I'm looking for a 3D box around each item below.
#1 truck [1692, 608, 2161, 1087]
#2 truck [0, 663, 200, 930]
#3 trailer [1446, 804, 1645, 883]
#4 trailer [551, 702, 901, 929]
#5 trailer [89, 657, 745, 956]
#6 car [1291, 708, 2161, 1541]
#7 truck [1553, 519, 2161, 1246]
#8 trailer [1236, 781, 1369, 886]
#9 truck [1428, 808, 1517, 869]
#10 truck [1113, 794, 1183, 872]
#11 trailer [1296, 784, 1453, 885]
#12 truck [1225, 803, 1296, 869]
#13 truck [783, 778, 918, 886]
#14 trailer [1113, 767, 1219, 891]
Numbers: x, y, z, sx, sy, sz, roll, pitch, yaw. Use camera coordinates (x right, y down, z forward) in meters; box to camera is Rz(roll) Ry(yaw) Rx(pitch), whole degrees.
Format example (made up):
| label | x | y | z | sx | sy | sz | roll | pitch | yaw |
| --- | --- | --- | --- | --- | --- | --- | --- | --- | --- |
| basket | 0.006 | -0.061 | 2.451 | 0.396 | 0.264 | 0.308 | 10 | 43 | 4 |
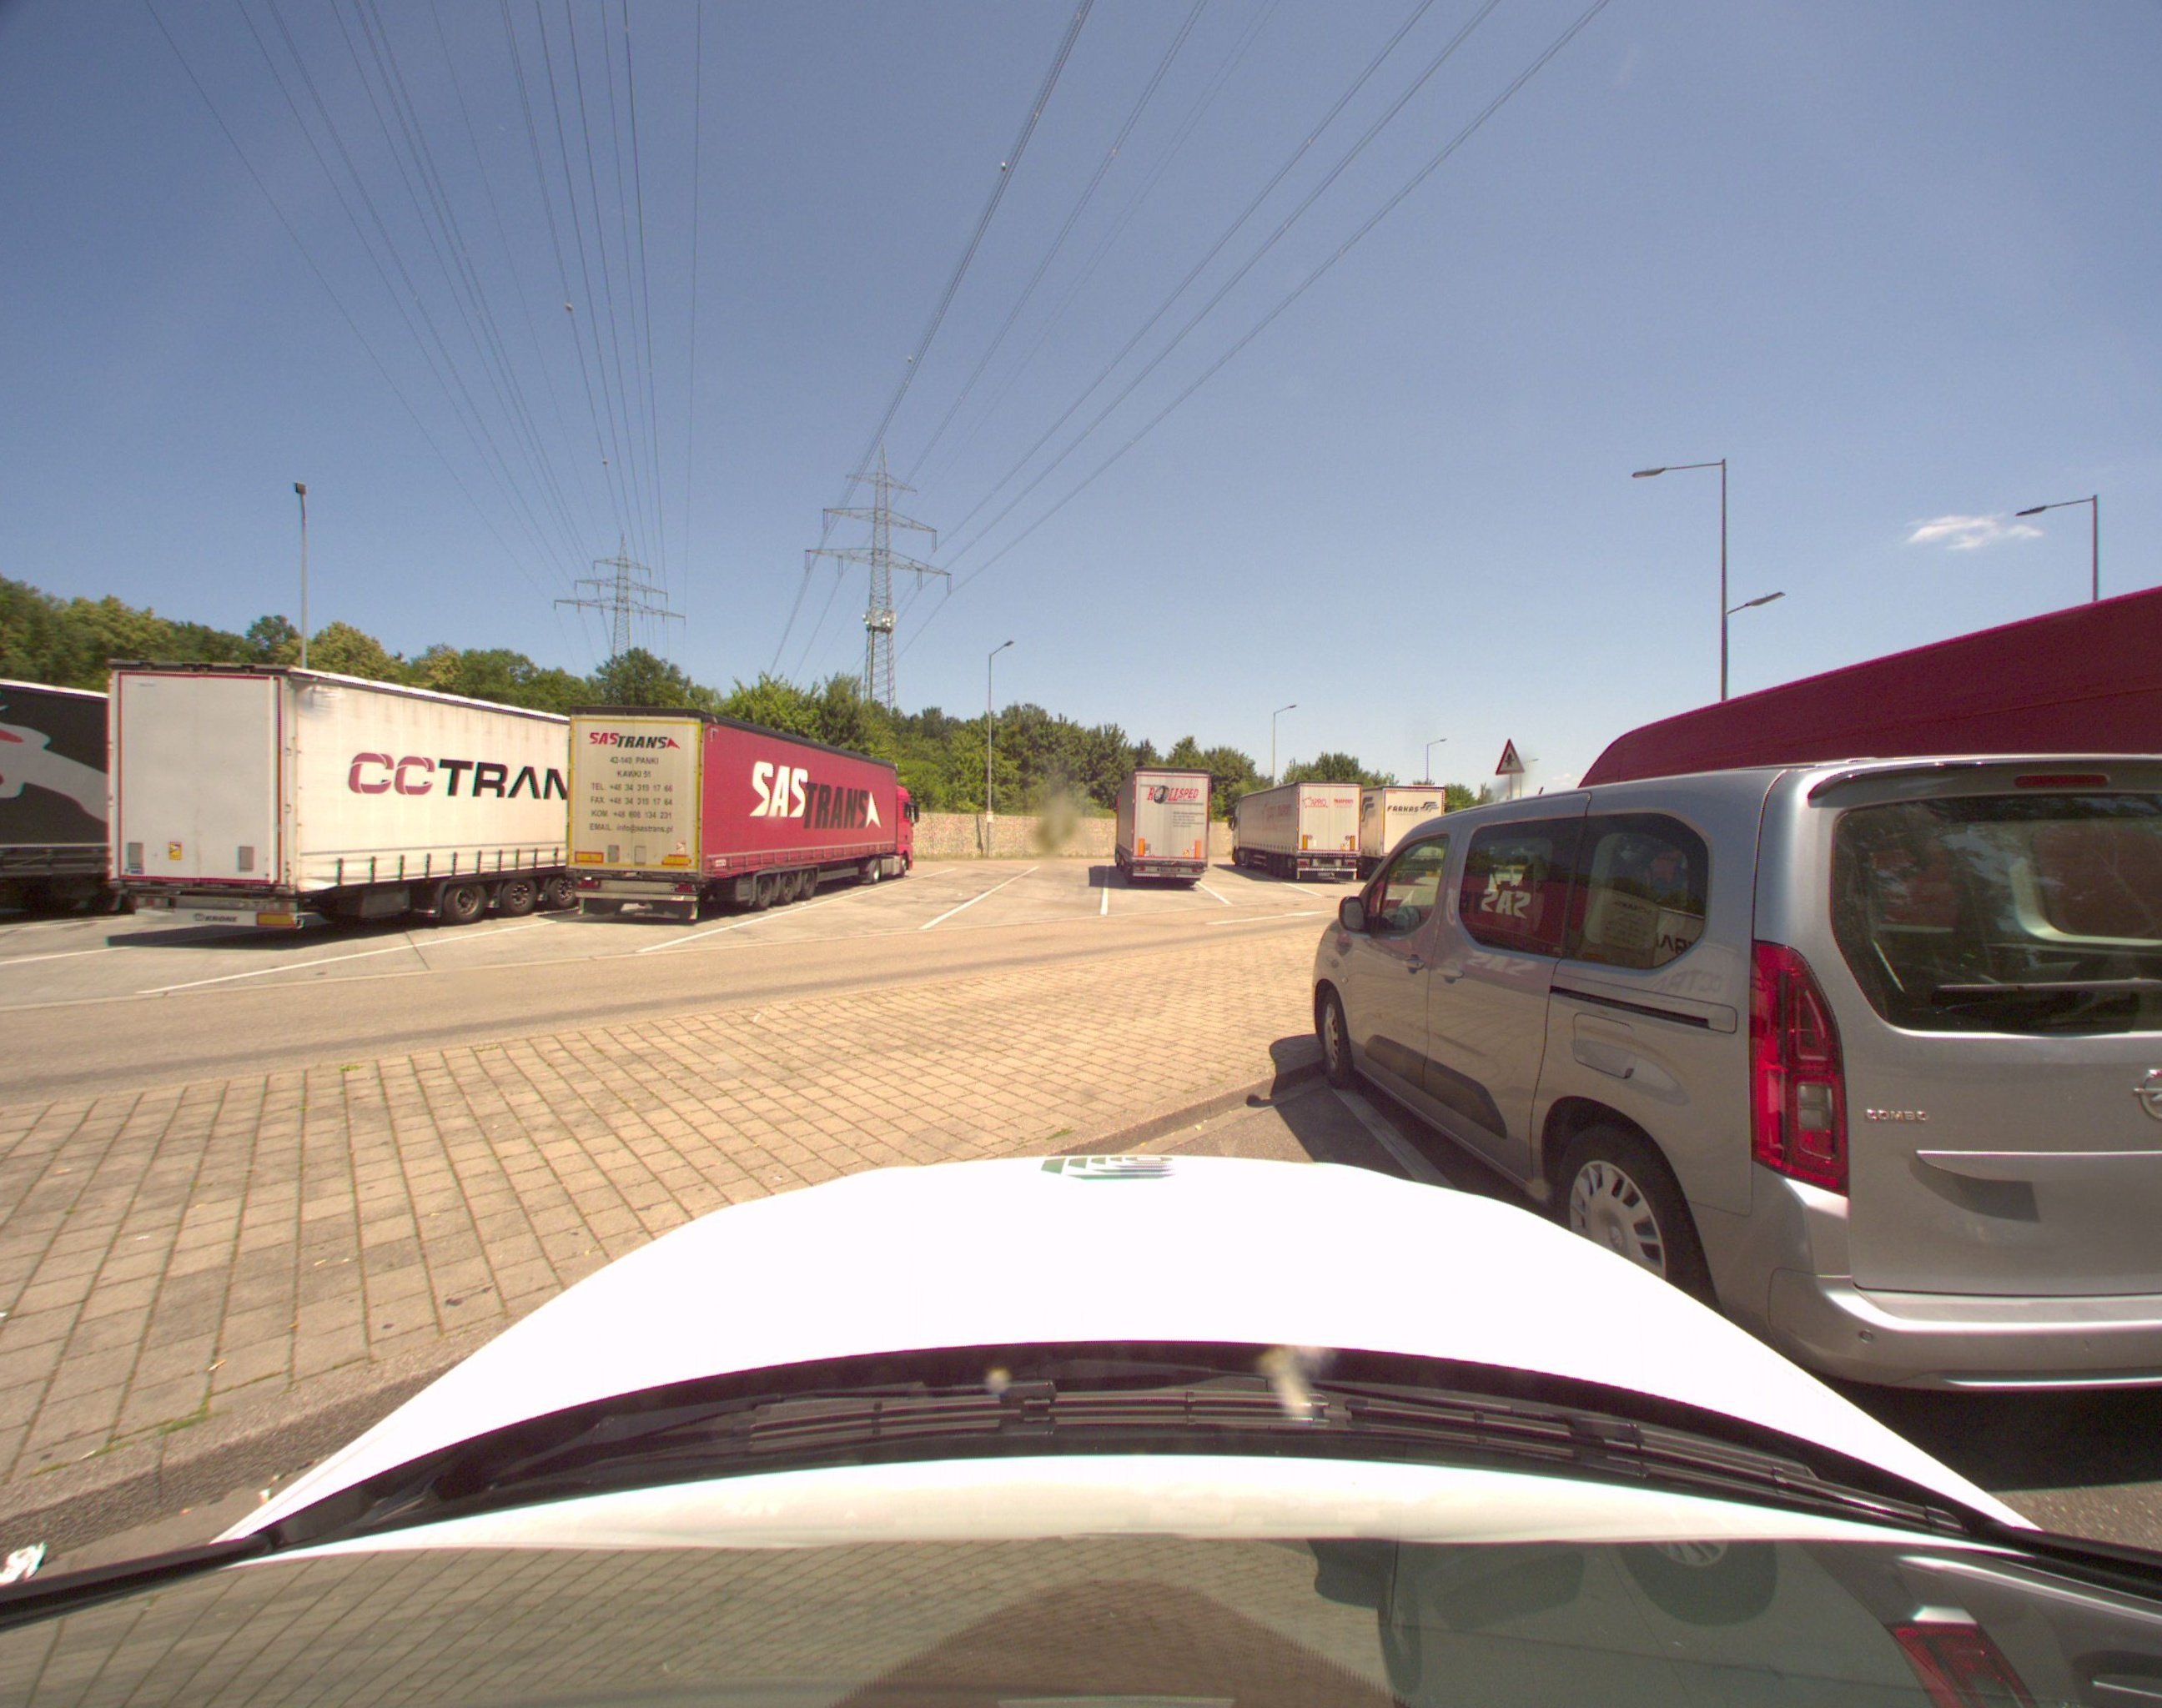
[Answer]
| label | x | y | z | sx | sy | sz | roll | pitch | yaw |
| --- | --- | --- | --- | --- | --- | --- | --- | --- | --- |
| truck | 7.987 | -0.034 | 6.491 | 2.444 | 2.912 | 5.663 | -1 | -1 | 7 |
| truck | -18.545 | -0.967 | 13.817 | 2.726 | 4.239 | 3.997 | 1 | 2 | 2 |
| trailer | 24.090 | -0.736 | 43.792 | 2.801 | 3.507 | 14.403 | 1 | 2 | 2 |
| trailer | -8.070 | -0.946 | 21.939 | 2.781 | 4.084 | 14.139 | 1 | 2 | 2 |
| trailer | -12.134 | -0.910 | 18.369 | 2.785 | 4.084 | 14.139 | 1 | 2 | 2 |
| car | 2.485 | 0.577 | 3.919 | 1.864 | 1.863 | 4.176 | 1 | 1 | 0 |
| truck | 5.131 | 0.122 | 4.943 | 1.968 | 2.622 | 5.314 | 0 | -1 | 7 |
| trailer | 9.921 | -1.046 | 38.680 | 2.801 | 3.989 | 14.403 | 1 | 2 | 2 |
| truck | 24.346 | -1.009 | 51.023 | 2.792 | 3.521 | 5.903 | 1 | 2 | 2 |
| truck | 3.221 | -1.082 | 40.625 | 3.092 | 3.566 | 5.903 | 1 | 2 | 2 |
| trailer | 13.594 | -1.037 | 39.644 | 2.801 | 3.989 | 14.403 | 1 | 2 | 2 |
| truck | 10.182 | -1.077 | 46.782 | 2.852 | 3.521 | 5.903 | 1 | 2 | 2 |
| truck | -7.823 | -0.784 | 28.509 | 2.840 | 3.327 | 5.903 | 1 | 2 | 2 |
| trailer | 3.056 | -1.065 | 33.731 | 3.122 | 3.989 | 14.401 | 1 | 2 | 1 |
